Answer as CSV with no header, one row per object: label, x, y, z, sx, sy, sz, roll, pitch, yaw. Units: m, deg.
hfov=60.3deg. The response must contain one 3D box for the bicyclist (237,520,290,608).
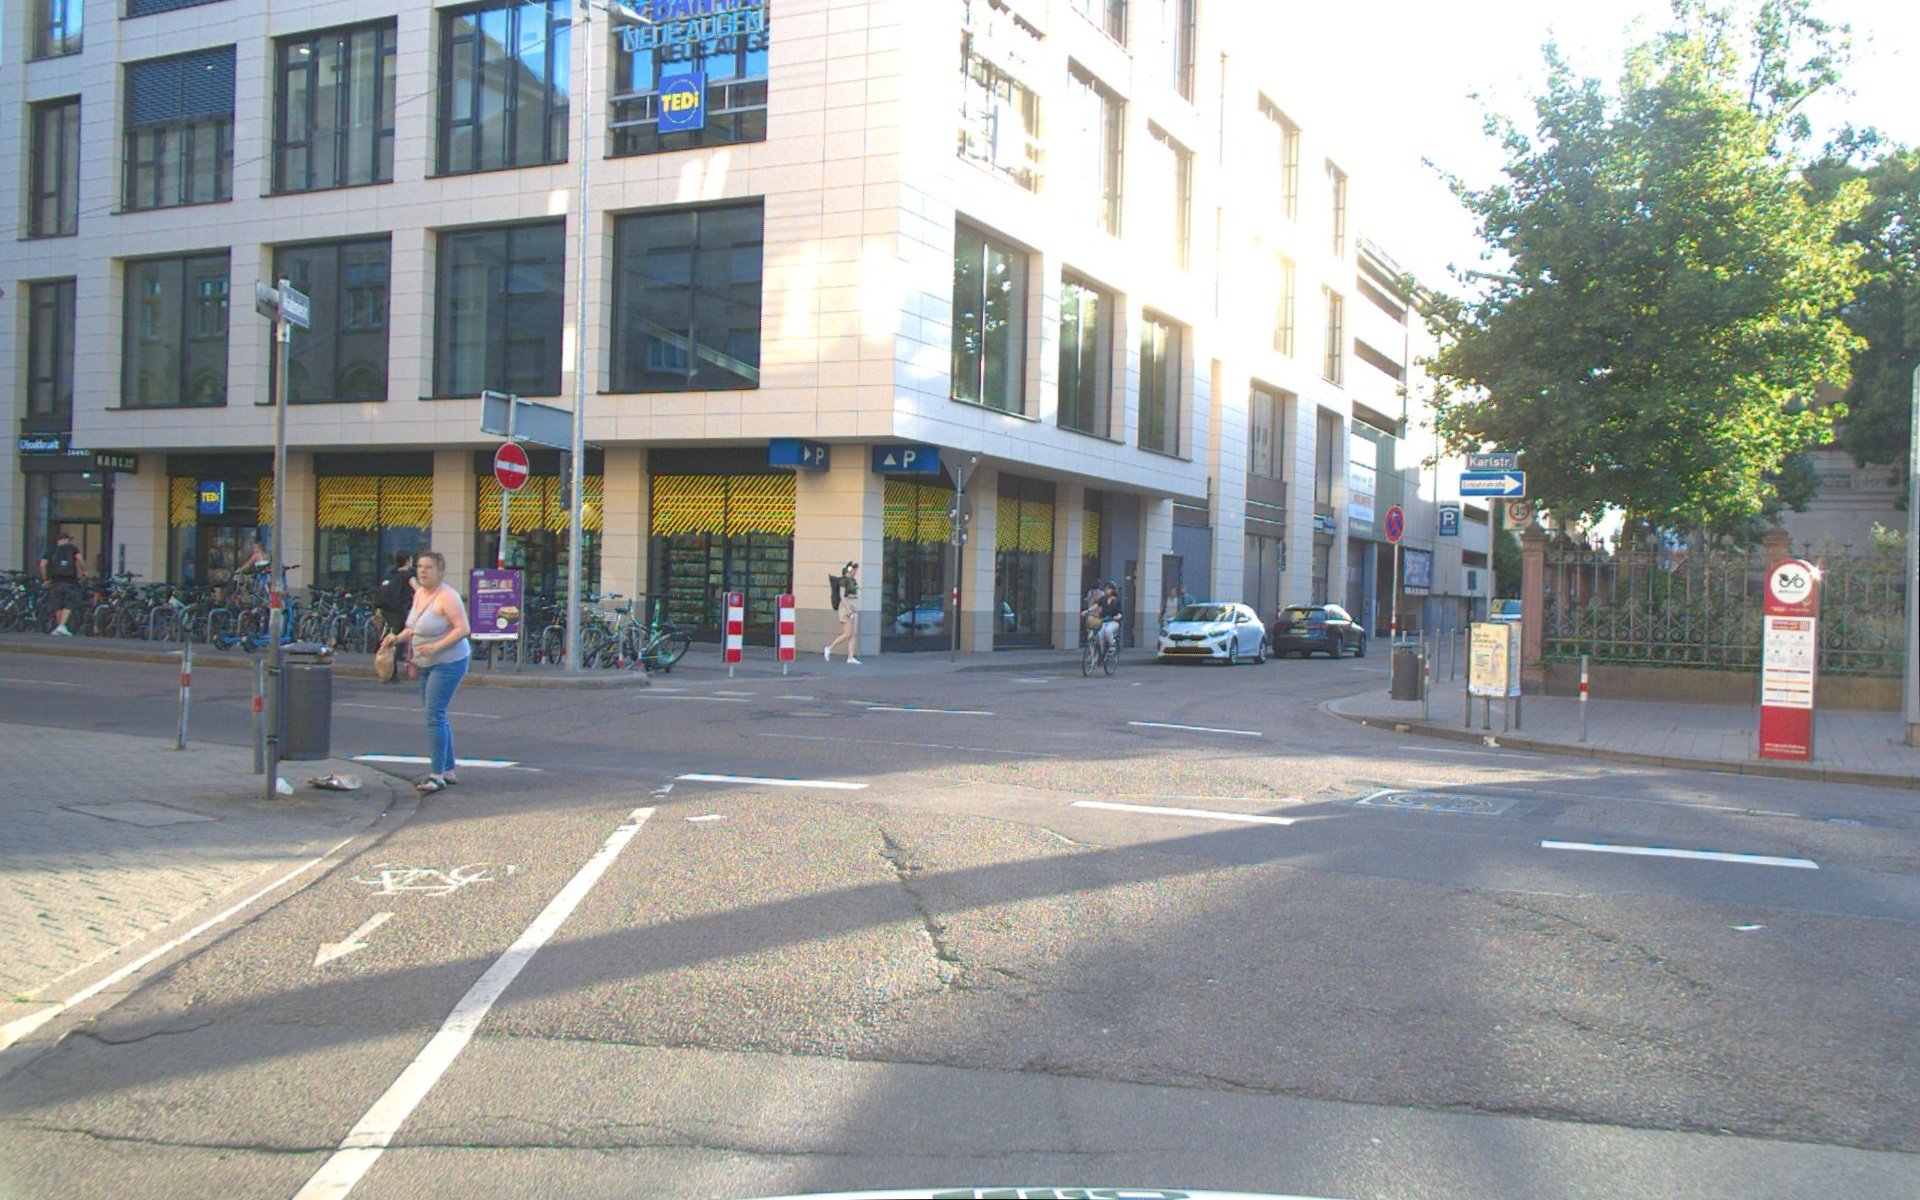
bicyclist,-13.897,-0.719,32.999,0.630,1.725,0.683,2,0,27

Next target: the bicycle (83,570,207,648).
bicycle,-13.989,0.170,28.446,0.501,1.277,1.977,2,0,25

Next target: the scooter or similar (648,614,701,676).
scooter or similar,-4.334,0.681,25.120,0.379,0.899,0.769,2,-1,25

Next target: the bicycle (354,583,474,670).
bicycle,-8.407,0.418,25.552,0.501,1.277,1.977,2,0,25

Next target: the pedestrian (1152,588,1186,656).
pedestrian,5.396,0.567,42.743,0.658,1.704,0.647,2,0,24

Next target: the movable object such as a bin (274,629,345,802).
movable object such as a bin,-4.182,0.737,10.645,0.353,1.082,0.355,2,0,-15

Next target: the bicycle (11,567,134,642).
bicycle,-15.742,0.093,29.393,0.501,1.277,1.977,2,0,25

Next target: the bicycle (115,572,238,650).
bicycle,-13.314,0.200,28.175,0.501,1.277,1.977,2,0,25

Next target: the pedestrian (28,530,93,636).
pedestrian,-14.981,-0.285,27.546,0.630,1.725,0.683,2,0,29

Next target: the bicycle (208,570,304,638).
bicycle,-14.067,0.080,33.030,1.934,1.276,0.612,2,0,26

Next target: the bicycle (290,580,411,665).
bicycle,-9.657,0.363,26.294,0.501,1.277,1.977,2,0,25

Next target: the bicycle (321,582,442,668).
bicycle,-9.023,0.391,25.888,0.501,1.277,1.977,2,0,25

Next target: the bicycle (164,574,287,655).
bicycle,-12.178,0.251,27.495,0.501,1.277,1.977,2,0,25

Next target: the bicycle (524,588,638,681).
bicycle,-5.474,0.499,24.009,0.501,1.277,1.978,2,0,23

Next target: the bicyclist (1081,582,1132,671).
bicyclist,2.704,0.488,30.548,0.645,1.598,0.863,2,-1,23

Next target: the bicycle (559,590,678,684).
bicycle,-4.888,0.530,23.791,0.569,1.277,2.043,2,0,23

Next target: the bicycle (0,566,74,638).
bicycle,-17.159,0.029,29.999,0.501,1.277,1.977,2,0,25

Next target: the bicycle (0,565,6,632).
bicycle,-19.095,-0.056,31.137,0.501,1.277,1.977,2,0,25

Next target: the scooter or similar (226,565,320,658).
scooter or similar,-9.792,0.174,23.610,0.379,1.282,1.270,2,0,25

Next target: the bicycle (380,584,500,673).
bicycle,-7.920,0.439,25.276,0.501,1.277,1.977,2,0,25

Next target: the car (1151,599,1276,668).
car,6.001,0.759,38.813,1.742,1.478,4.227,2,0,25

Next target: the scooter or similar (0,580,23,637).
scooter or similar,-16.481,0.126,27.799,0.379,0.958,1.270,2,0,25

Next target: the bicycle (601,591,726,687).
bicycle,-4.186,0.553,23.520,0.650,1.277,2.140,2,0,23

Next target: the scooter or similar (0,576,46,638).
scooter or similar,-15.909,0.110,27.458,0.379,1.009,1.270,2,0,25

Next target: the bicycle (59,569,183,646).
bicycle,-14.524,0.146,28.688,0.501,1.277,1.977,2,0,25

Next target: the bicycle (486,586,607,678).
bicycle,-6.030,0.467,24.258,0.502,1.277,1.976,2,0,27

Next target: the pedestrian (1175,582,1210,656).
pedestrian,5.969,0.481,42.478,0.658,1.868,0.647,2,0,24

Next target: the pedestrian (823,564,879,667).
pedestrian,-1.902,0.268,28.875,0.628,1.753,0.837,2,0,-28

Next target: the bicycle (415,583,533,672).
bicycle,-7.332,0.427,25.034,0.501,1.277,1.978,2,0,24

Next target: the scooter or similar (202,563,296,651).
scooter or similar,-10.275,0.115,23.924,0.379,1.233,1.270,2,0,25

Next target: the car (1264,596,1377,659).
car,10.290,0.772,46.914,1.848,1.626,4.681,2,0,29

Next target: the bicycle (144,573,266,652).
bicycle,-12.706,0.228,27.899,0.501,1.277,1.977,2,0,25

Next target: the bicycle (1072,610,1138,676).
bicycle,2.684,0.783,30.504,0.650,1.158,1.821,2,0,23

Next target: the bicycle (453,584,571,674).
bicycle,-6.655,0.439,24.667,0.501,1.277,1.977,2,0,25

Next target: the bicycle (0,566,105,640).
bicycle,-16.465,0.060,29.758,0.501,1.277,1.977,2,0,25

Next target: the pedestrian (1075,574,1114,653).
pedestrian,3.108,0.312,38.241,0.659,1.775,0.646,2,0,27

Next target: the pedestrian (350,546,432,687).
pedestrian,-7.024,0.201,20.441,0.855,1.687,0.616,2,0,-16

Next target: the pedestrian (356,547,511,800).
pedestrian,-3.585,0.483,11.248,0.795,1.641,0.726,2,0,-33

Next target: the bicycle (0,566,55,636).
bicycle,-17.774,0.003,30.473,0.501,1.277,1.977,2,0,25

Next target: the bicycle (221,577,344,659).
bicycle,-10.974,0.304,26.863,0.501,1.277,1.977,2,0,25

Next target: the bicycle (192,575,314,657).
bicycle,-11.628,0.275,27.271,0.501,1.277,1.977,2,0,25

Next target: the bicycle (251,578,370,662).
bicycle,-10.416,0.329,26.600,0.501,1.277,1.978,2,0,23

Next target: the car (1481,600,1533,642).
car,26.941,1.012,81.310,1.846,1.945,4.744,2,0,25

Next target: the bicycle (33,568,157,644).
bicycle,-15.095,0.121,28.923,0.501,1.277,1.977,2,0,25

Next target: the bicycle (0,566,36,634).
bicycle,-18.401,-0.025,30.959,0.501,1.277,1.977,2,0,25
